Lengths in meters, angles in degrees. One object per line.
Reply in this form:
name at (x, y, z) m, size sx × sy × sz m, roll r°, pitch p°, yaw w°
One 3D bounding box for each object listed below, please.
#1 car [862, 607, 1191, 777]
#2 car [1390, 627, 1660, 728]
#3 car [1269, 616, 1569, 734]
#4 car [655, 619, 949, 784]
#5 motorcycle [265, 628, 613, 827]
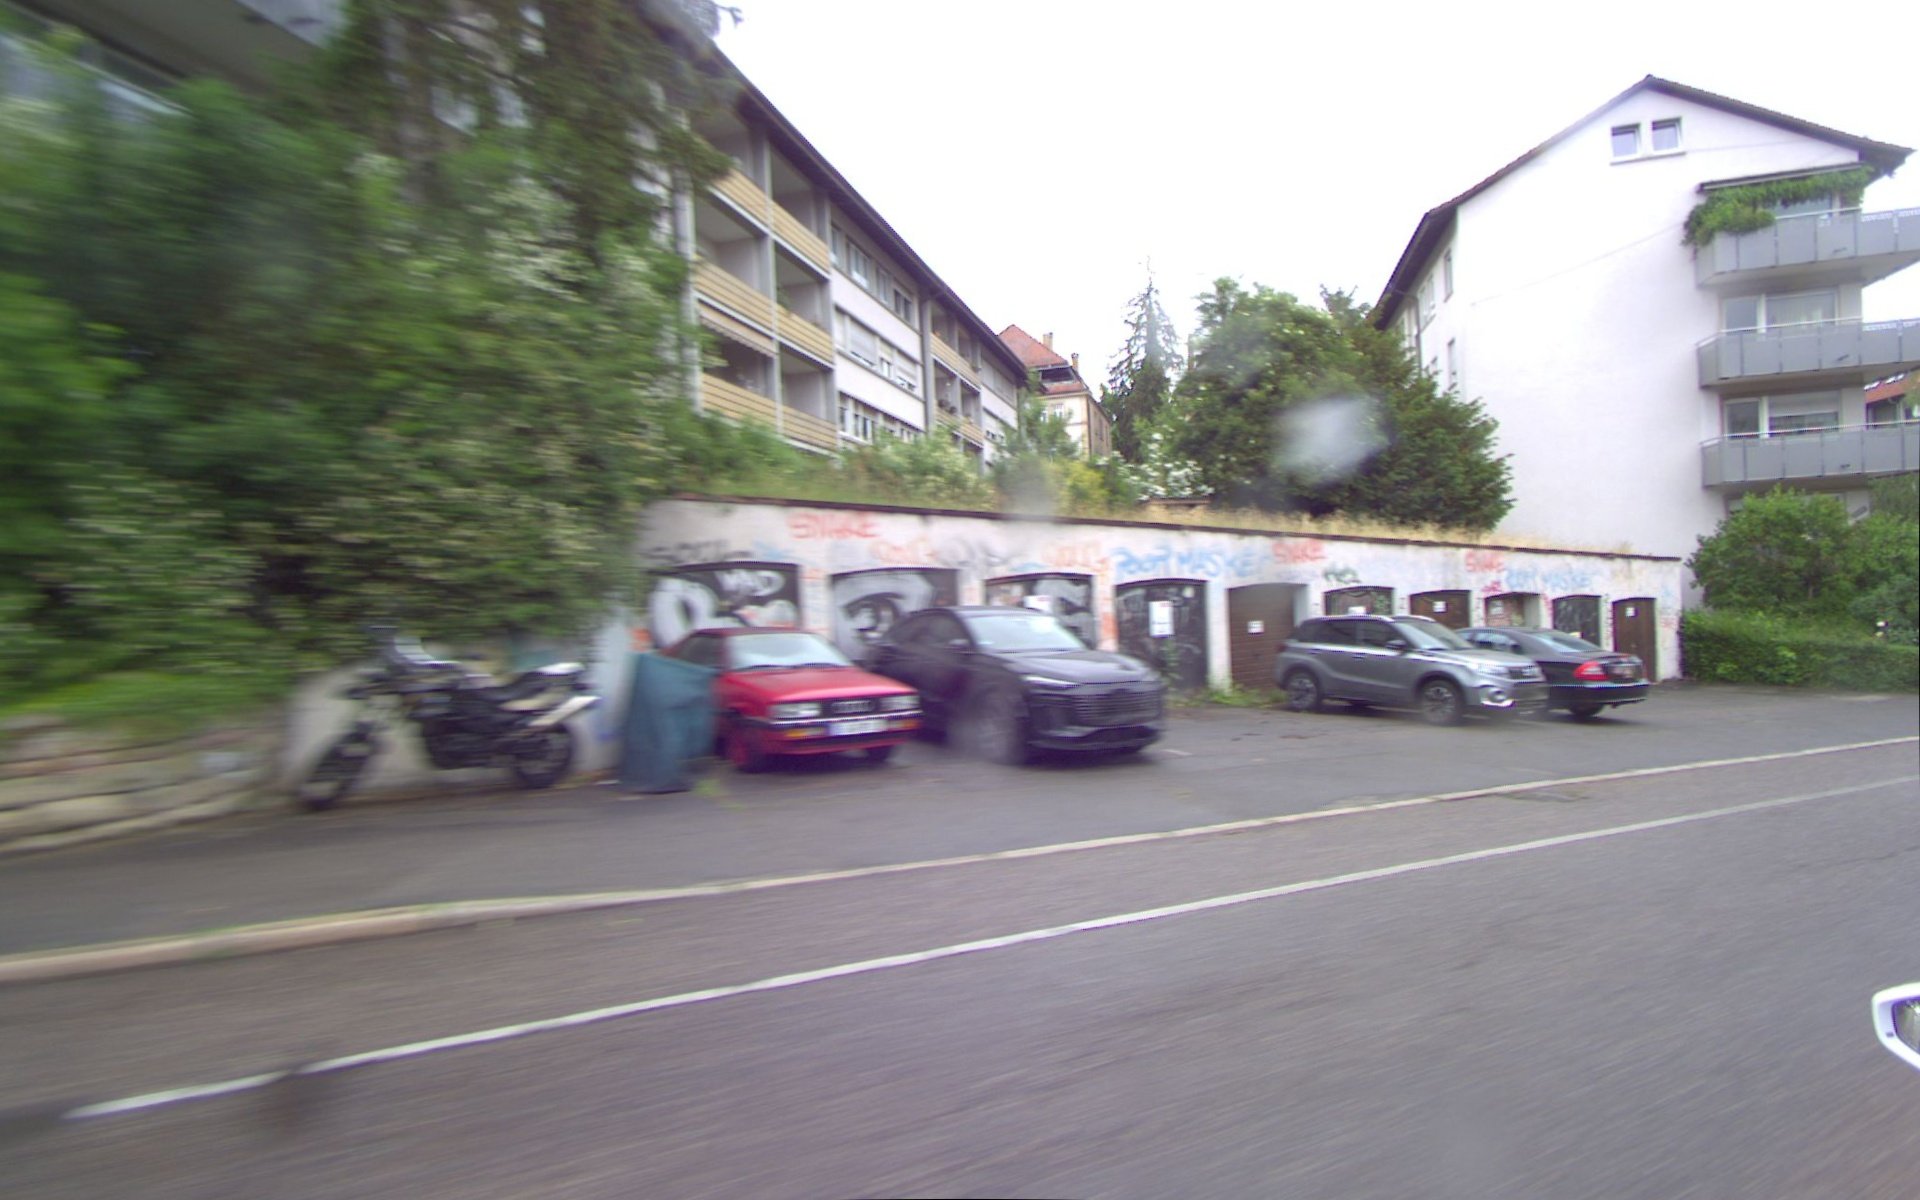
car at (0.560, 0.907, 12.057) m, size 1.793 × 1.624 × 4.428 m, roll 0°, pitch 0°, yaw -30°
car at (9.329, 1.201, 16.874) m, size 1.761 × 1.426 × 3.617 m, roll 0°, pitch -1°, yaw -28°
car at (7.107, 1.077, 15.927) m, size 1.860 × 1.580 × 3.965 m, roll 2°, pitch -1°, yaw -32°
car at (-1.844, 0.949, 10.848) m, size 1.700 × 1.424 × 3.607 m, roll 2°, pitch -1°, yaw -36°
motorcycle at (-3.950, 0.908, 7.796) m, size 2.303 × 1.338 × 0.611 m, roll 2°, pitch -2°, yaw -42°
